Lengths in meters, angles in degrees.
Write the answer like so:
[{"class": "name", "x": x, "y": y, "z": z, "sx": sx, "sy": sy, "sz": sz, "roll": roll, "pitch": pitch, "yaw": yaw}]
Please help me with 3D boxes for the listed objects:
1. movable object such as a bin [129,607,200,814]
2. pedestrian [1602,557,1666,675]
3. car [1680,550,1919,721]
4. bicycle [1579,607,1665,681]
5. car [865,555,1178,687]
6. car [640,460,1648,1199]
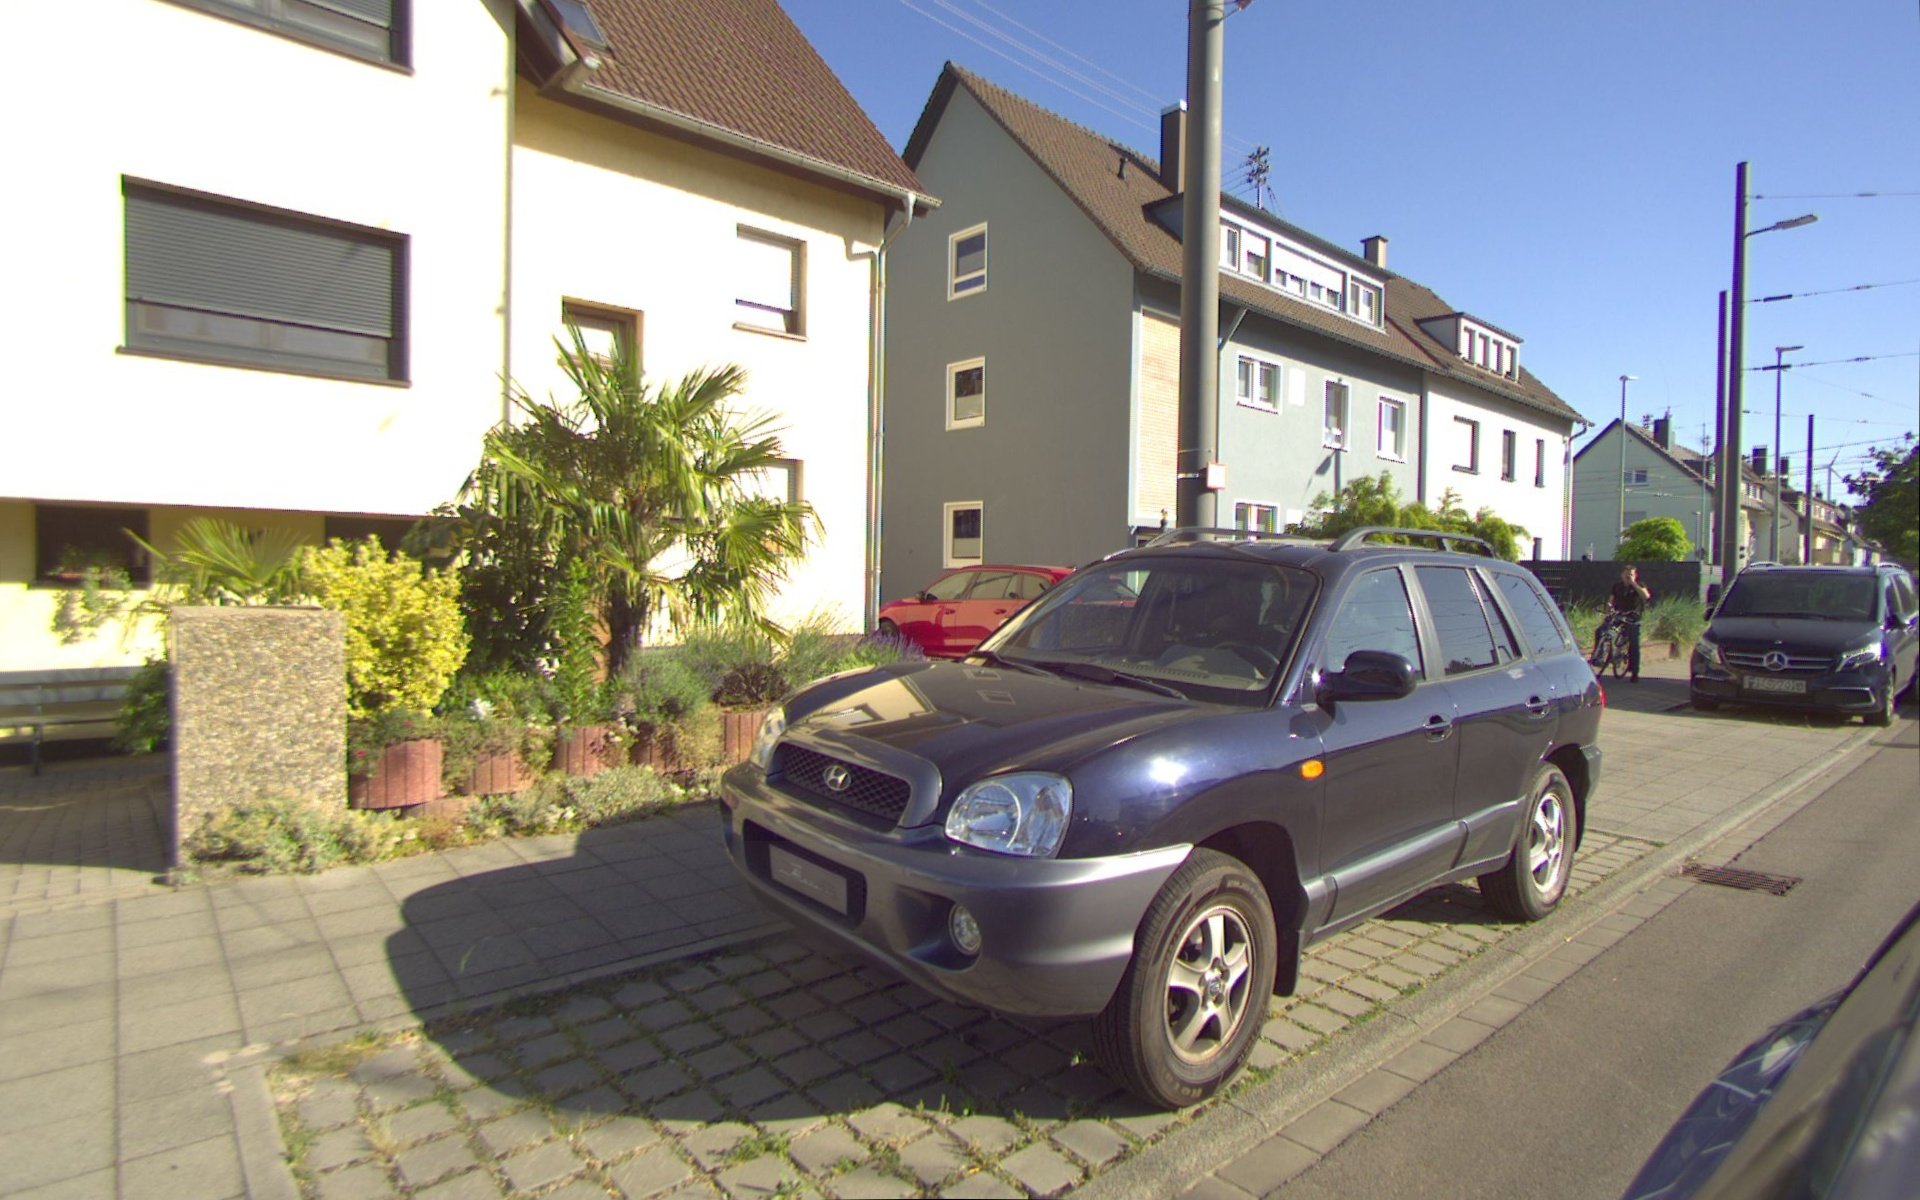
[{"class": "movable object such as a bin", "x": -4.378, "y": 0.589, "z": 5.564, "sx": 0.557, "sy": 1.076, "sz": 0.202, "roll": -3, "pitch": -1, "yaw": 44}, {"class": "pedestrian", "x": 10.278, "y": 0.227, "z": 15.437, "sx": 0.702, "sy": 1.744, "sz": 0.584, "roll": 0, "pitch": 2, "yaw": -40}, {"class": "car", "x": 11.354, "y": 0.331, "z": 13.316, "sx": 4.841, "sy": 1.859, "sz": 1.965, "roll": -1, "pitch": 2, "yaw": -41}, {"class": "bicycle", "x": 9.962, "y": 0.630, "z": 15.206, "sx": 1.534, "sy": 0.991, "sz": 0.602, "roll": -1, "pitch": 4, "yaw": -39}, {"class": "car", "x": 0.697, "y": 0.182, "z": 13.875, "sx": 1.867, "sy": 1.486, "sz": 4.173, "roll": 1, "pitch": 2, "yaw": -41}, {"class": "car", "x": 1.140, "y": 0.499, "z": 4.290, "sx": 4.395, "sy": 1.680, "sz": 1.858, "roll": 0, "pitch": 2, "yaw": -41}]
